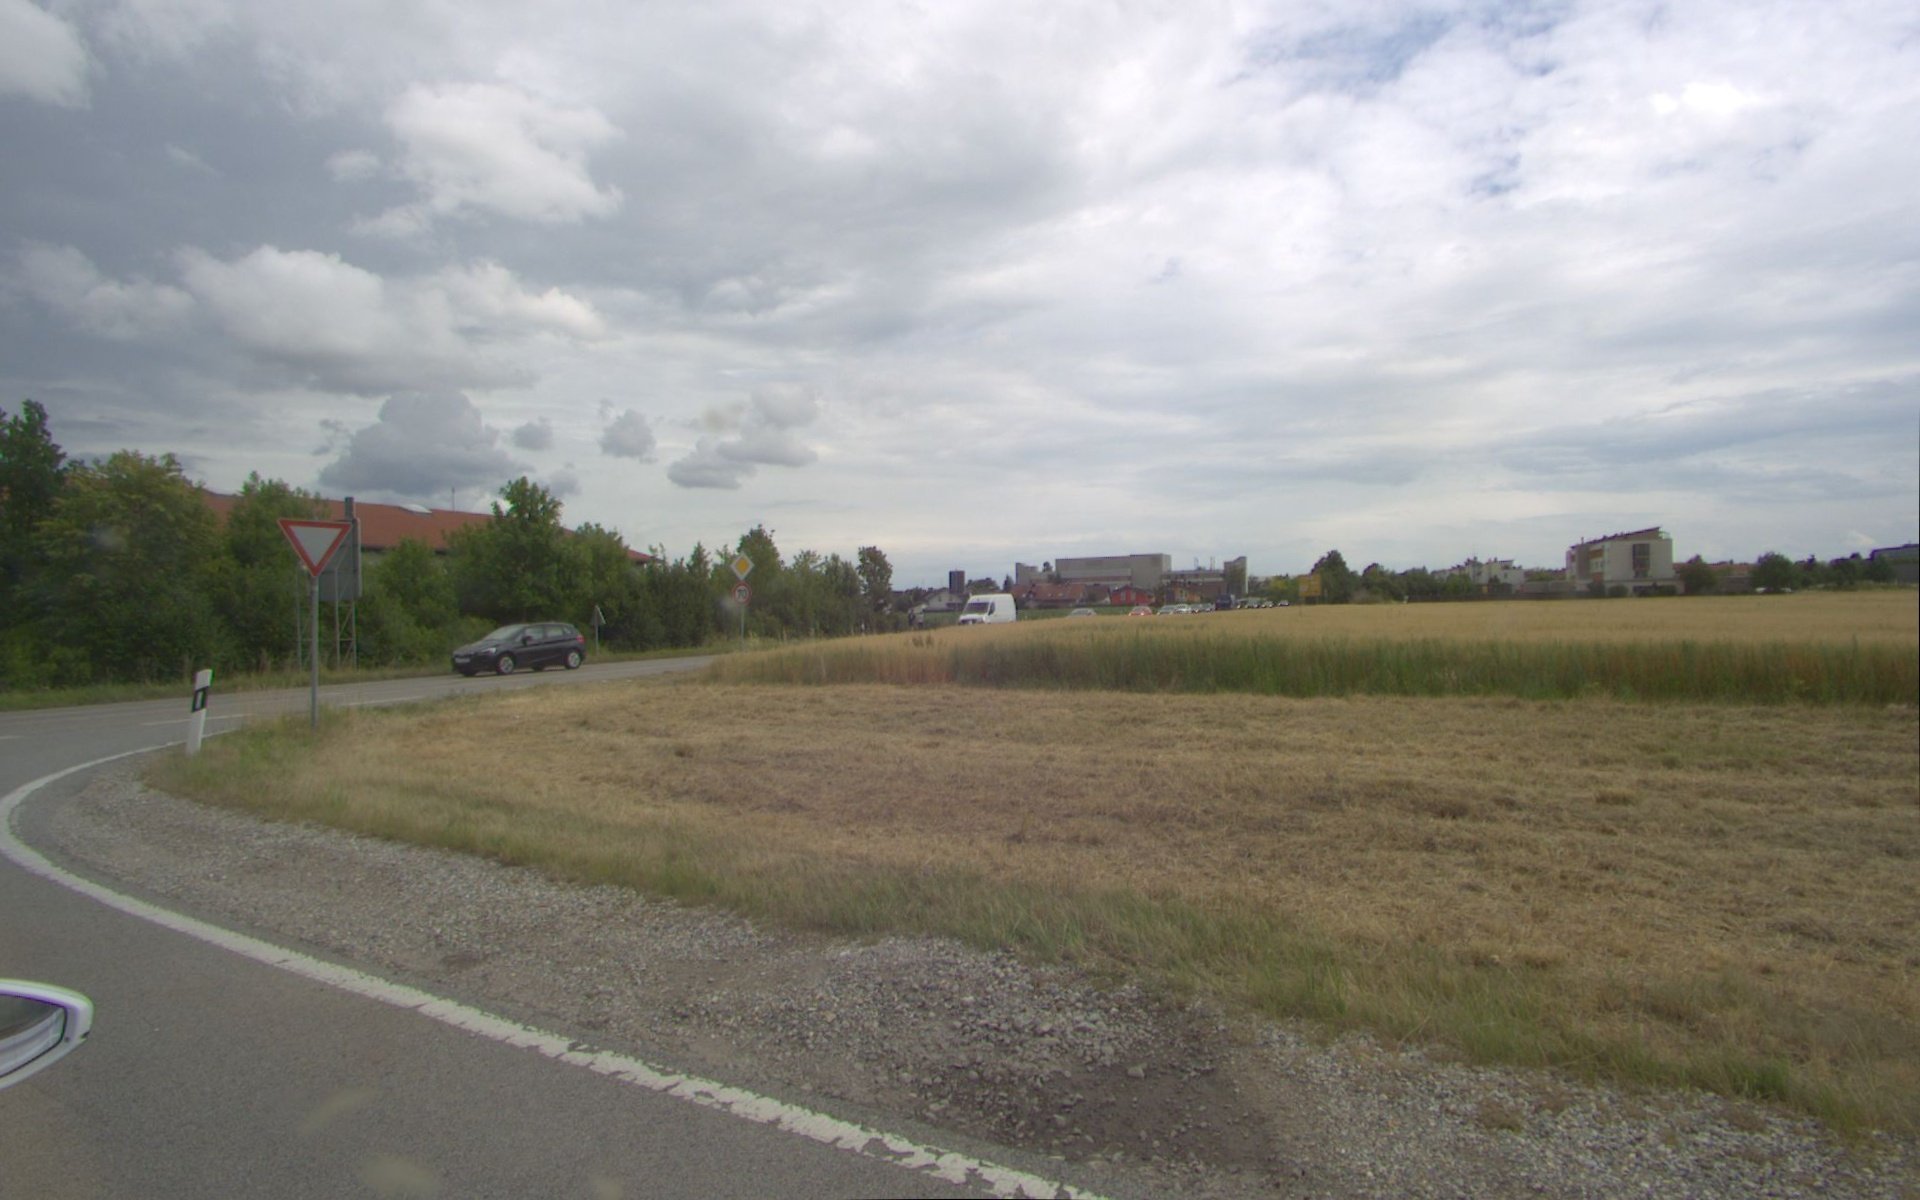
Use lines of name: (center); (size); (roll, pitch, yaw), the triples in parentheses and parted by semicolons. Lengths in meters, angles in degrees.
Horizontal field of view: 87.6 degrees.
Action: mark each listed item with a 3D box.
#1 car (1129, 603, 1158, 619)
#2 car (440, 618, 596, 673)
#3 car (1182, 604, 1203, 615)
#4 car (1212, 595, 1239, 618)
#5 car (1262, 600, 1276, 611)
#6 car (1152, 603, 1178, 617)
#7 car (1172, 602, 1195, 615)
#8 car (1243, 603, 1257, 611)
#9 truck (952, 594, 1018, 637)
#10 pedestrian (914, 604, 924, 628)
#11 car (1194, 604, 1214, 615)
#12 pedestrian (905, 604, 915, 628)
car: (18.005, 1.062, 98.055); (1.826, 1.486, 3.986); (-1, 0, 25)
car: (-13.837, 1.392, 31.633); (1.967, 1.506, 4.287); (-2, 0, 24)
car: (28.154, 1.141, 121.085); (1.826, 1.287, 3.518); (-1, 0, 24)
car: (32.016, 0.744, 120.724); (2.115, 2.675, 5.549); (0, 1, 26)
car: (55.568, 0.995, 180.236); (1.967, 2.041, 3.986); (0, 1, 24)
car: (21.870, 1.054, 106.817); (1.826, 1.486, 3.986); (-1, 0, 25)
car: (25.936, 0.982, 115.867); (1.826, 1.486, 3.987); (-1, 0, 24)
car: (47.058, 1.142, 162.466); (1.826, 1.287, 3.518); (-1, 0, 24)
truck: (1.699, 0.961, 65.367); (1.968, 2.609, 5.995); (-2, -1, 26)
pedestrian: (-2.876, 1.130, 70.759); (0.521, 1.705, 0.626); (0, 1, 20)
car: (31.357, 1.239, 128.509); (1.826, 1.287, 3.518); (-1, 0, 24)
pedestrian: (-3.540, 1.135, 71.015); (0.521, 1.705, 0.626); (0, 1, 20)
